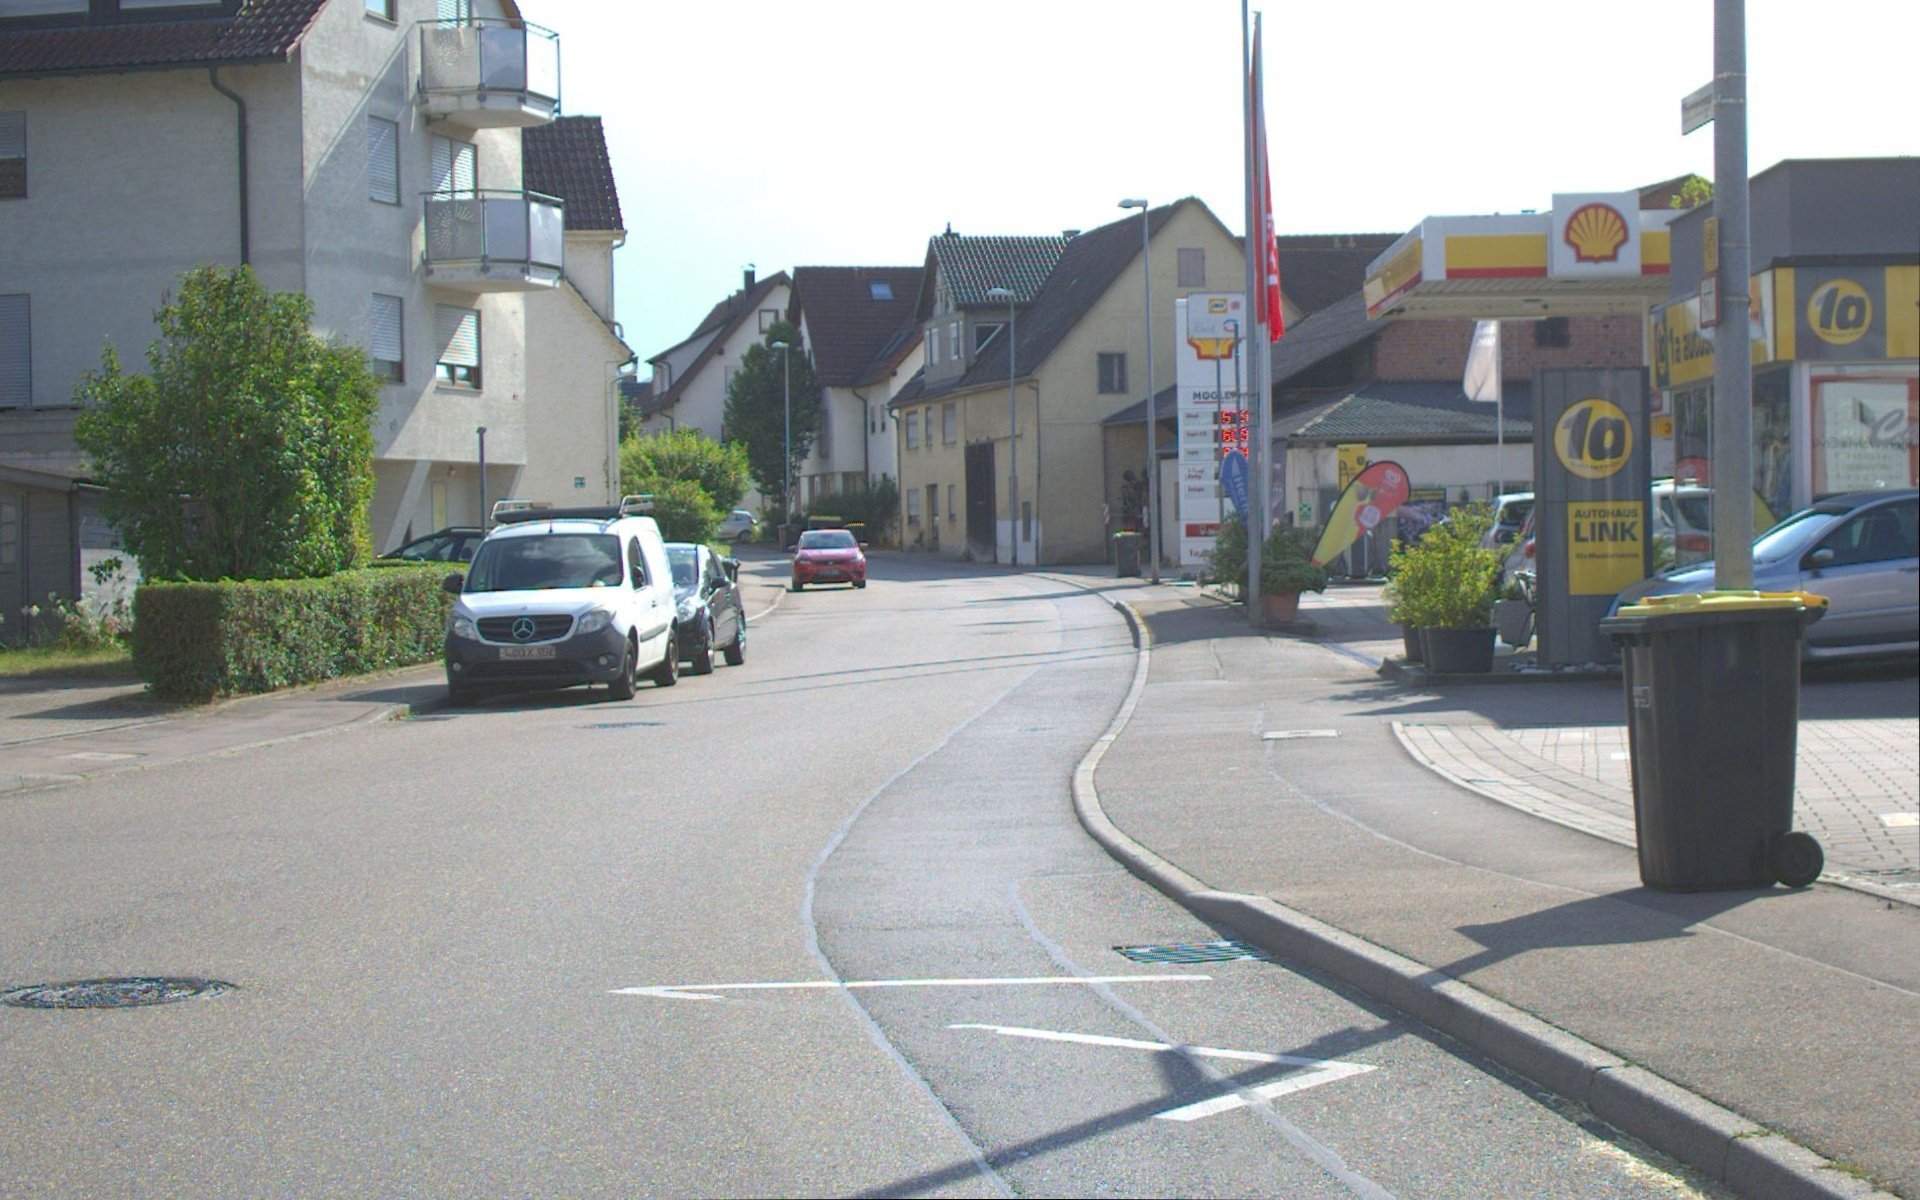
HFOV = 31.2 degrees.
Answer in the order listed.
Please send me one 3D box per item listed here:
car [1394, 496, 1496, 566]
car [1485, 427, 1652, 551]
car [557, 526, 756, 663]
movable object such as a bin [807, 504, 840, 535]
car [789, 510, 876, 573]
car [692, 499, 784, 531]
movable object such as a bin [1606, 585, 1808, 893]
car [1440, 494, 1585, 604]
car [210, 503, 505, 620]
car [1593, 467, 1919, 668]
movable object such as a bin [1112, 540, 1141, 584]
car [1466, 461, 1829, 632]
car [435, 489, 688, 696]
[{"bbox_3d":[10.229,-1.466,72.699,1.578,1.422,4.381,0,2,1],"label":"car"},{"bbox_3d":[8.251,-1.503,46.874,1.672,1.572,3.999,-2,2,2],"label":"car"},{"bbox_3d":[-3.436,-0.104,39.536,1.673,1.446,3.834,-2,1,4],"label":"car"},{"bbox_3d":[-5.288,-3.132,133.177,1.160,1.164,0.655,-1,1,-9],"label":"movable object such as a bin"},{"bbox_3d":[-3.155,-1.417,84.279,1.708,1.430,3.781,-3,1,-8],"label":"car"},{"bbox_3d":[-9.949,-3.810,154.030,3.986,1.348,1.711,-1,1,-6],"label":"car"},{"bbox_3d":[2.728,0.497,12.598,0.567,1.071,0.573,-2,1,-1],"label":"movable object such as a bin"},{"bbox_3d":[8.386,-0.802,52.479,1.672,1.572,3.999,-2,2,2],"label":"car"},{"bbox_3d":[-9.146,-0.605,52.274,3.990,1.533,1.762,4,2,14],"label":"car"},{"bbox_3d":[7.300,-0.295,27.849,3.986,1.526,1.528,-2,1,-4],"label":"car"},{"bbox_3d":[4.062,-0.928,83.933,0.653,1.069,0.513,-1,1,-1],"label":"movable object such as a bin"},{"bbox_3d":[7.631,-0.605,37.975,4.066,1.669,1.676,-4,1,-40],"label":"car"},{"bbox_3d":[-3.882,-0.116,34.177,1.716,1.866,4.192,-2,1,4],"label":"car"}]
